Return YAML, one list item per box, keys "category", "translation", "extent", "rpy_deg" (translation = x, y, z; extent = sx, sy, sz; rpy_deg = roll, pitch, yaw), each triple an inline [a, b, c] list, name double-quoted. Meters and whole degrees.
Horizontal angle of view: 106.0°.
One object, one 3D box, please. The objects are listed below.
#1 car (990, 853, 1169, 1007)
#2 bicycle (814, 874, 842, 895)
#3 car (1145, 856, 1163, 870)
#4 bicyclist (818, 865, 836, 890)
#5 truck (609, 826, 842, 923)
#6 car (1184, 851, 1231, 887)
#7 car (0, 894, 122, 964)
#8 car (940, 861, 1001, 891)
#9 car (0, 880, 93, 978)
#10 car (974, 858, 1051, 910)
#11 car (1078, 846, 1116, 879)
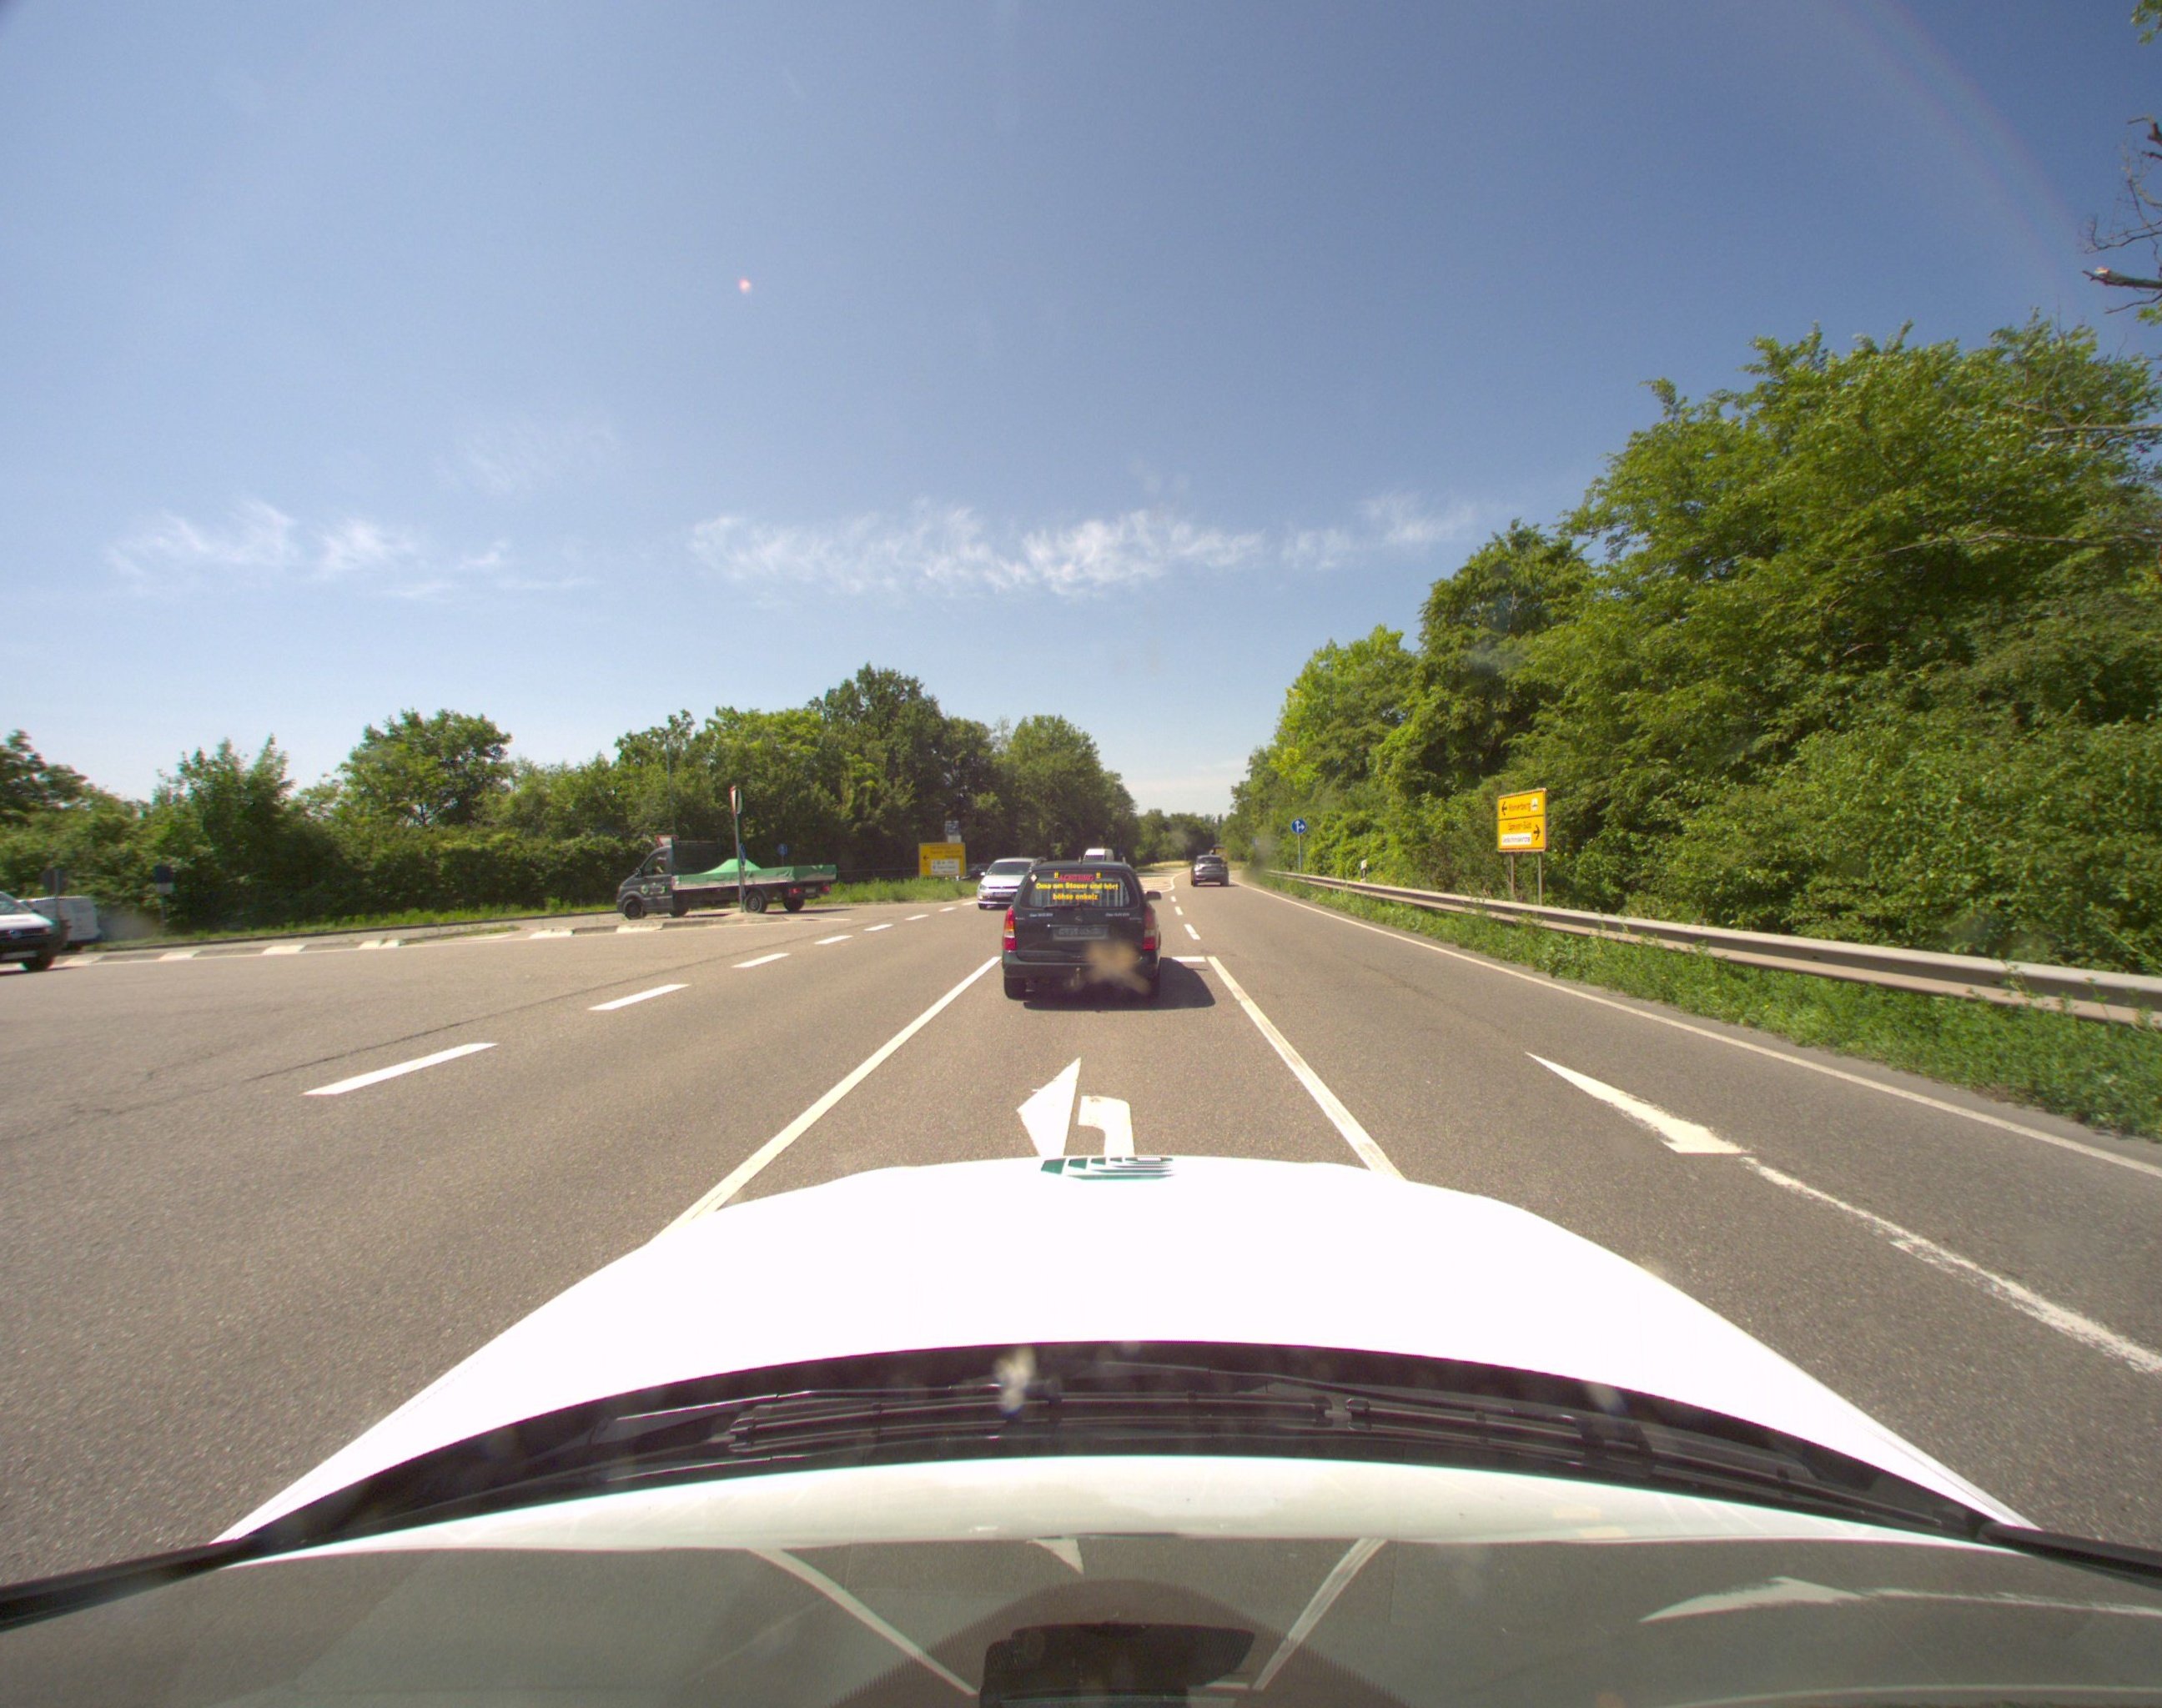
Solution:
- category: "car"
  translation: [0.067, 0.737, 9.780]
  extent: [1.713, 1.457, 3.800]
  rpy_deg: [-1, 0, 2]
- category: "bicycle"
  translation: [-13.874, 1.668, 44.629]
  extent: [0.431, 1.113, 1.491]
  rpy_deg: [-2, 0, 36]
- category: "car"
  translation: [16.613, 2.099, 186.295]
  extent: [2.003, 3.226, 4.769]
  rpy_deg: [-1, 0, -25]
- category: "bicyclist"
  translation: [-13.912, 1.277, 44.606]
  extent: [0.681, 1.363, 0.613]
  rpy_deg: [-1, 0, 36]
- category: "truck"
  translation: [-10.955, 0.657, 25.134]
  extent: [6.568, 2.565, 2.154]
  rpy_deg: [-3, -1, 15]
- category: "car"
  translation: [6.329, 0.725, 41.194]
  extent: [1.837, 1.684, 4.001]
  rpy_deg: [-1, 0, 1]
- category: "car"
  translation: [-34.126, 2.471, 25.595]
  extent: [5.167, 1.923, 2.014]
  rpy_deg: [-4, 0, -4]
- category: "car"
  translation: [-6.739, 1.313, 50.035]
  extent: [1.656, 1.662, 4.024]
  rpy_deg: [-2, 0, 28]
- category: "car"
  translation: [-25.607, 1.818, 18.148]
  extent: [5.143, 2.027, 2.004]
  rpy_deg: [-4, 0, 7]
- category: "car"
  translation: [-1.957, 0.831, 24.245]
  extent: [1.637, 1.419, 3.771]
  rpy_deg: [-1, 0, 5]
- category: "car"
  translation: [1.520, 0.740, 72.732]
  extent: [2.090, 2.850, 6.034]
  rpy_deg: [-1, 0, 13]
